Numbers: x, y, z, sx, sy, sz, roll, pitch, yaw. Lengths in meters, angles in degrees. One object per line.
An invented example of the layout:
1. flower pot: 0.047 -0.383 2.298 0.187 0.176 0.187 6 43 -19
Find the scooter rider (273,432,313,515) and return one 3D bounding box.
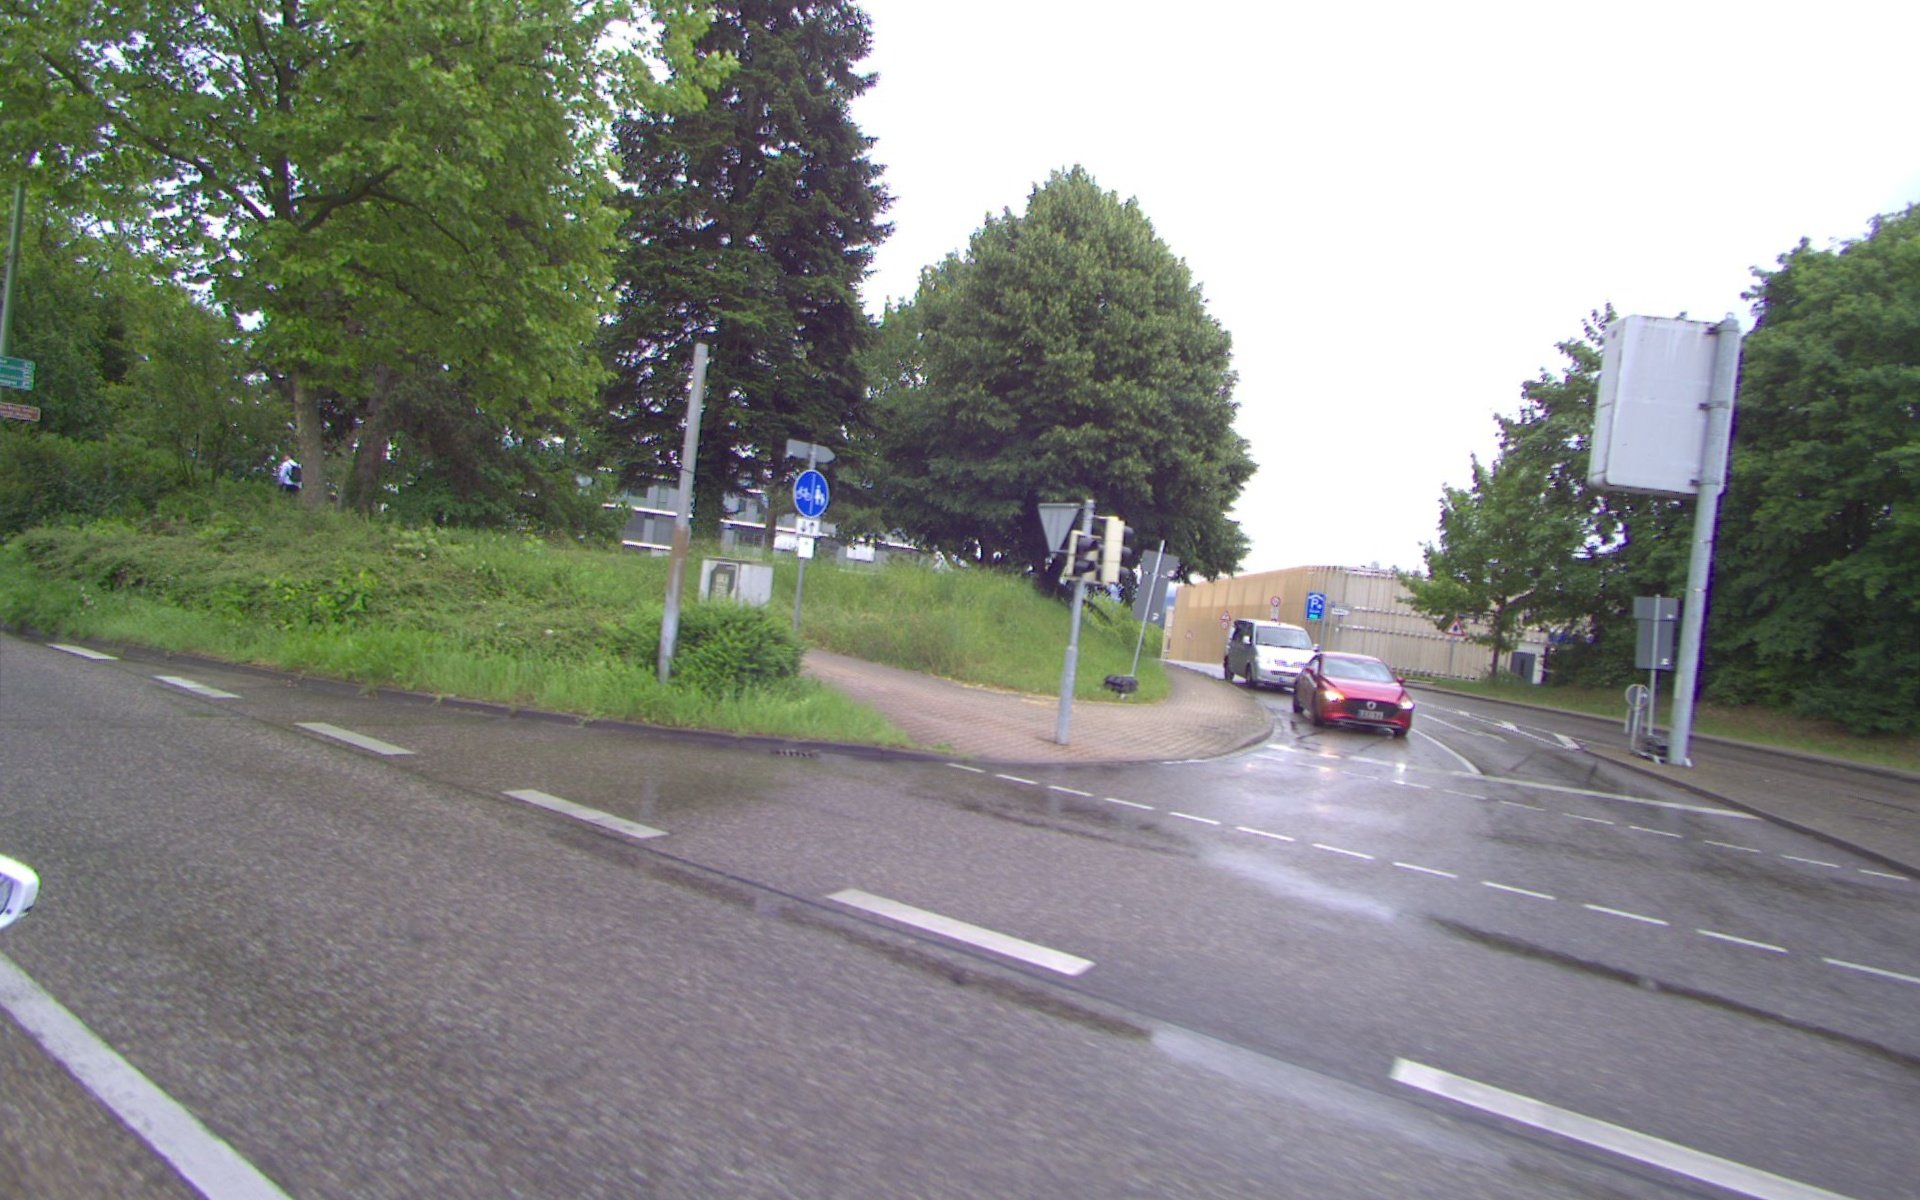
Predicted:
1. scooter rider: -16.945 -3.212 25.547 0.538 1.990 0.501 8 2 31

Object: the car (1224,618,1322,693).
1. car: 9.063 1.578 29.470 1.817 1.881 4.003 5 -1 6

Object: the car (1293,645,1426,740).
1. car: 8.067 1.797 20.688 1.817 1.447 3.999 6 1 13
